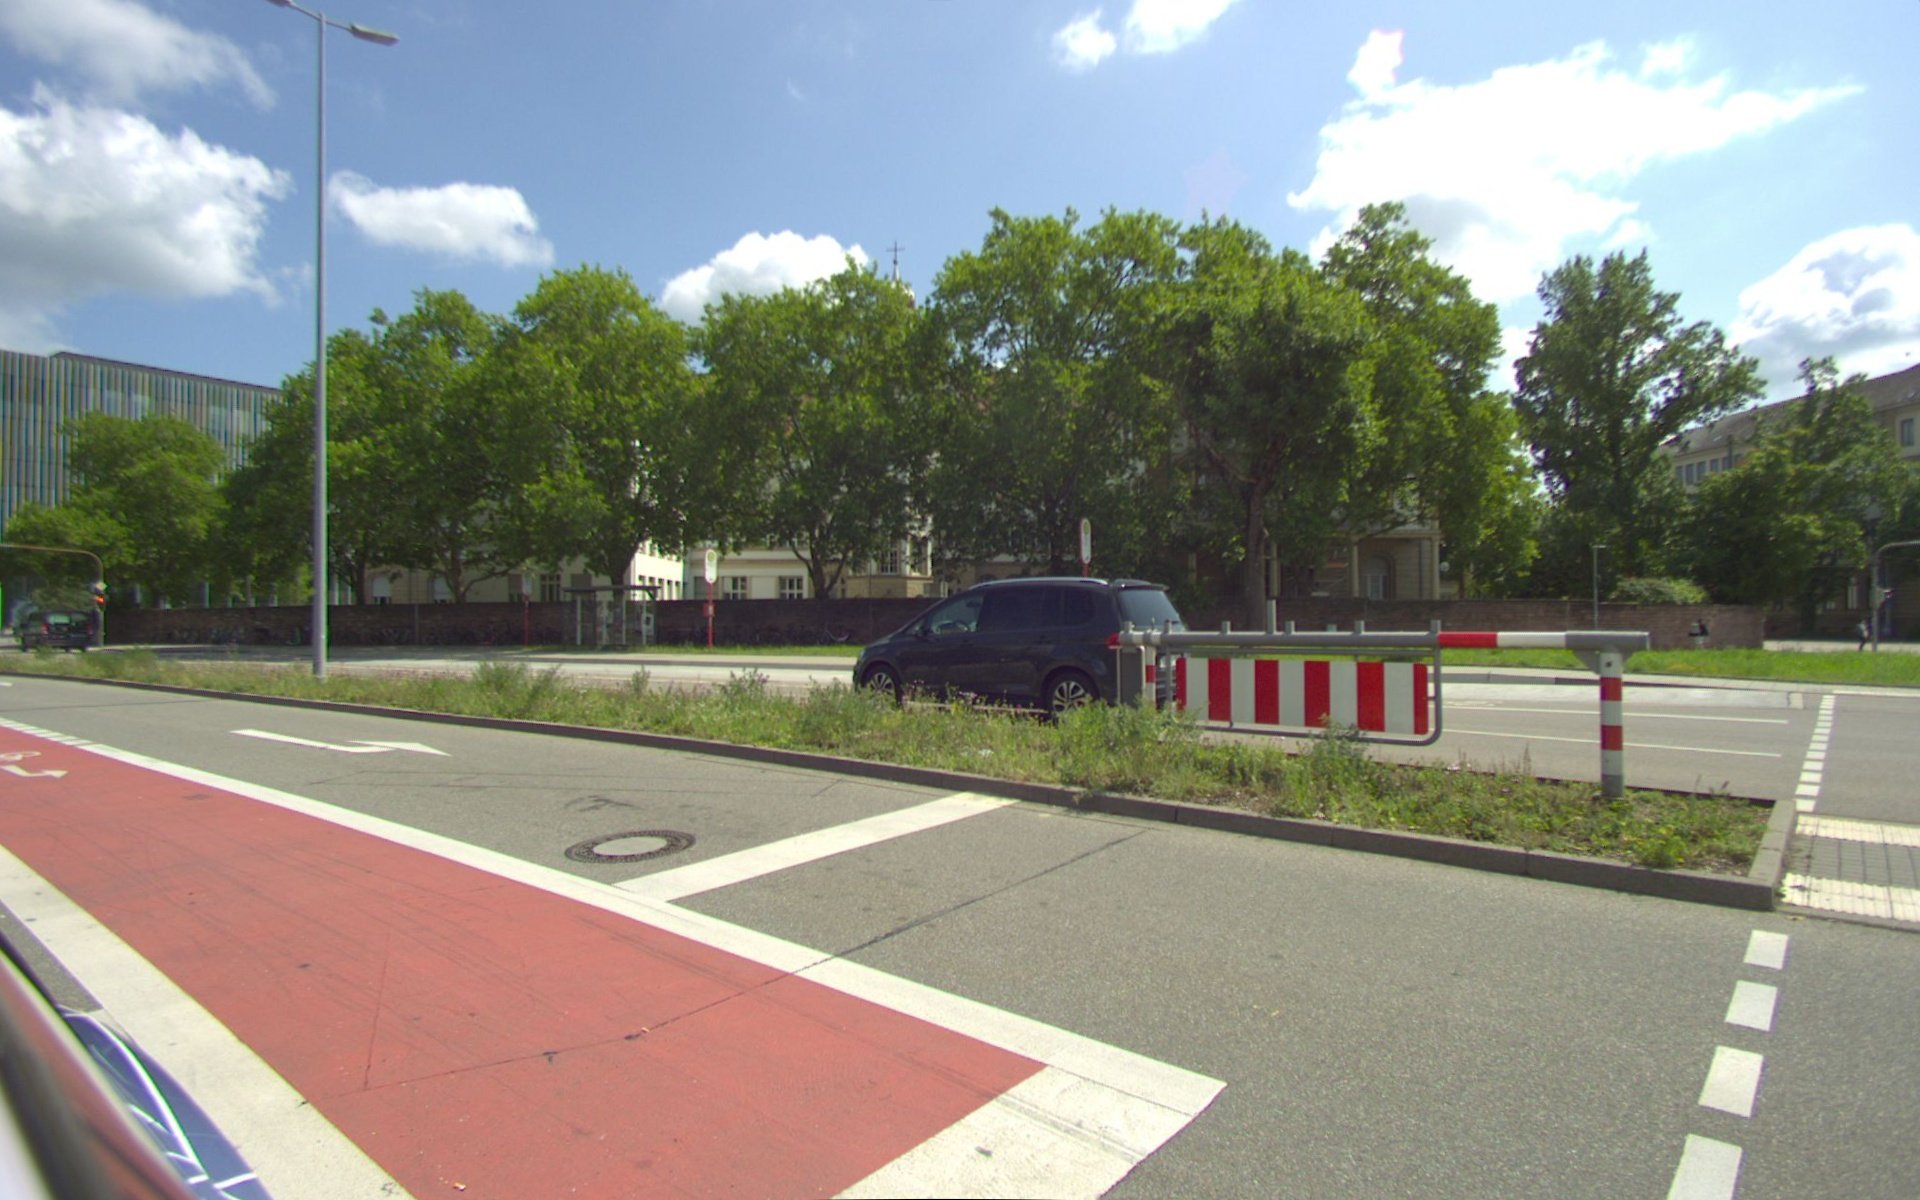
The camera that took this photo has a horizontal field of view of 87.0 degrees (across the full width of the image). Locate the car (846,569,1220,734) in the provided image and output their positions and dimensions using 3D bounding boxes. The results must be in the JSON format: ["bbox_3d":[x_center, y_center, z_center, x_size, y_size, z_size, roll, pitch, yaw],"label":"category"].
[{"bbox_3d":[0.764,0.553,12.114,4.151,1.636,1.862,-2,-1,40],"label":"car"}]

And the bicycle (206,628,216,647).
[{"bbox_3d":[-45.522,2.276,61.513,0.376,1.116,1.675,0,-1,-33],"label":"bicycle"}]

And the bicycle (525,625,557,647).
[{"bbox_3d":[-20.968,1.803,50.647,1.626,1.051,0.396,-1,-1,17],"label":"bicycle"}]

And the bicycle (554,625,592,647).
[{"bbox_3d":[-19.167,1.782,50.077,1.941,1.051,0.396,-1,-1,17],"label":"bicycle"}]

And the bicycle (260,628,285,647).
[{"bbox_3d":[-39.886,2.169,58.718,1.661,1.116,0.379,-1,-1,26],"label":"bicycle"}]

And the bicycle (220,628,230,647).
[{"bbox_3d":[-44.051,2.235,60.695,0.376,1.116,1.675,0,-1,-33],"label":"bicycle"}]

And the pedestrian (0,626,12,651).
[{"bbox_3d":[-74.870,3.031,79.272,0.805,1.931,0.708,0,0,31],"label":"pedestrian"}]

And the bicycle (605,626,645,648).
[{"bbox_3d":[-16.237,1.805,49.042,1.941,1.051,0.396,-1,-1,17],"label":"bicycle"}]

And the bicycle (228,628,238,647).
[{"bbox_3d":[-43.363,2.229,60.360,0.376,1.116,1.675,0,-1,-33],"label":"bicycle"}]

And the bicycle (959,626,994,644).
[{"bbox_3d":[0.740,1.565,45.270,1.527,0.795,0.397,-1,-1,10],"label":"bicycle"}]

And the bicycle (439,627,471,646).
[{"bbox_3d":[-26.240,1.899,52.577,1.750,1.011,0.395,-1,-1,22],"label":"bicycle"}]

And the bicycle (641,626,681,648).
[{"bbox_3d":[-14.317,1.780,48.420,1.941,1.051,0.396,-1,-1,17],"label":"bicycle"}]

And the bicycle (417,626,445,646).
[{"bbox_3d":[-27.836,1.889,53.236,1.573,1.051,0.395,-1,-1,22],"label":"bicycle"}]

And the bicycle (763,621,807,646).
[{"bbox_3d":[-8.115,1.534,46.971,2.018,1.146,0.396,-1,-1,12],"label":"bicycle"}]

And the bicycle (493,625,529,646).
[{"bbox_3d":[-22.745,1.809,51.220,1.943,1.051,0.395,-1,-1,20],"label":"bicycle"}]

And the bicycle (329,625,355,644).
[{"bbox_3d":[-34.175,1.907,55.972,1.660,1.051,0.379,-1,-1,24],"label":"bicycle"}]

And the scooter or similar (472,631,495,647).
[{"bbox_3d":[-24.039,1.949,51.020,1.058,0.800,0.352,-1,-1,12],"label":"scooter or similar"}]

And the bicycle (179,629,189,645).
[{"bbox_3d":[-48.359,2.297,63.090,0.324,1.025,1.675,0,-1,-33],"label":"bicycle"}]

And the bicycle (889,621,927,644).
[{"bbox_3d":[-2.348,1.453,45.739,1.668,1.038,0.397,-1,-1,10],"label":"bicycle"}]

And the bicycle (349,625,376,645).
[{"bbox_3d":[-32.639,1.900,55.264,1.660,1.051,0.379,-1,-1,24],"label":"bicycle"}]

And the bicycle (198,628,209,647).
[{"bbox_3d":[-46.024,2.254,61.562,0.376,1.116,1.675,0,-1,-33],"label":"bicycle"}]

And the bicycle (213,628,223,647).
[{"bbox_3d":[-44.804,2.243,61.119,0.376,1.116,1.675,0,-1,-33],"label":"bicycle"}]

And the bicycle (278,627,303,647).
[{"bbox_3d":[-38.358,2.114,57.991,1.660,1.116,0.379,-1,-1,24],"label":"bicycle"}]

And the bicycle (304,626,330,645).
[{"bbox_3d":[-36.019,1.984,56.688,1.660,1.051,0.379,-1,-1,24],"label":"bicycle"}]

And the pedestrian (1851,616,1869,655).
[{"bbox_3d":[42.435,1.670,47.738,0.435,1.834,0.566,-1,0,18],"label":"pedestrian"}]

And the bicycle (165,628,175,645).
[{"bbox_3d":[-49.848,2.305,63.854,0.324,1.025,1.675,0,-1,-33],"label":"bicycle"}]

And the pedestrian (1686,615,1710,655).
[{"bbox_3d":[31.820,1.517,43.659,0.669,1.708,0.488,-1,0,-3],"label":"pedestrian"}]

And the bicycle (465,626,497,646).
[{"bbox_3d":[-24.560,1.841,51.902,1.749,1.051,0.395,-1,-1,21],"label":"bicycle"}]

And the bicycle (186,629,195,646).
[{"bbox_3d":[-47.723,2.298,62.755,0.324,1.025,1.675,0,-1,-33],"label":"bicycle"}]

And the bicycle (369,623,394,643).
[{"bbox_3d":[-31.219,1.793,54.626,1.407,1.051,0.375,-1,-1,22],"label":"bicycle"}]

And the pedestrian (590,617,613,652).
[{"bbox_3d":[-16.789,1.625,47.425,0.772,1.623,0.721,0,-1,7],"label":"pedestrian"}]

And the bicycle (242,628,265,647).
[{"bbox_3d":[-41.661,2.227,59.689,1.662,1.116,0.379,-1,-1,27],"label":"bicycle"}]

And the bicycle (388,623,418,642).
[{"bbox_3d":[-29.723,1.731,54.004,1.750,1.051,0.395,-1,-1,22],"label":"bicycle"}]

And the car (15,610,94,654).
[{"bbox_3d":[-47.190,1.700,52.716,4.513,2.188,2.188,-2,-3,37],"label":"car"}]

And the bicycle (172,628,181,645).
[{"bbox_3d":[-49.183,2.300,63.530,0.324,1.025,1.675,0,-1,-33],"label":"bicycle"}]

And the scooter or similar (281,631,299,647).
[{"bbox_3d":[-37.647,2.189,56.863,1.063,0.850,0.350,-1,-1,23],"label":"scooter or similar"}]

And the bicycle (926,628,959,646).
[{"bbox_3d":[-0.786,1.681,45.449,1.450,0.795,0.397,-1,-1,10],"label":"bicycle"}]
